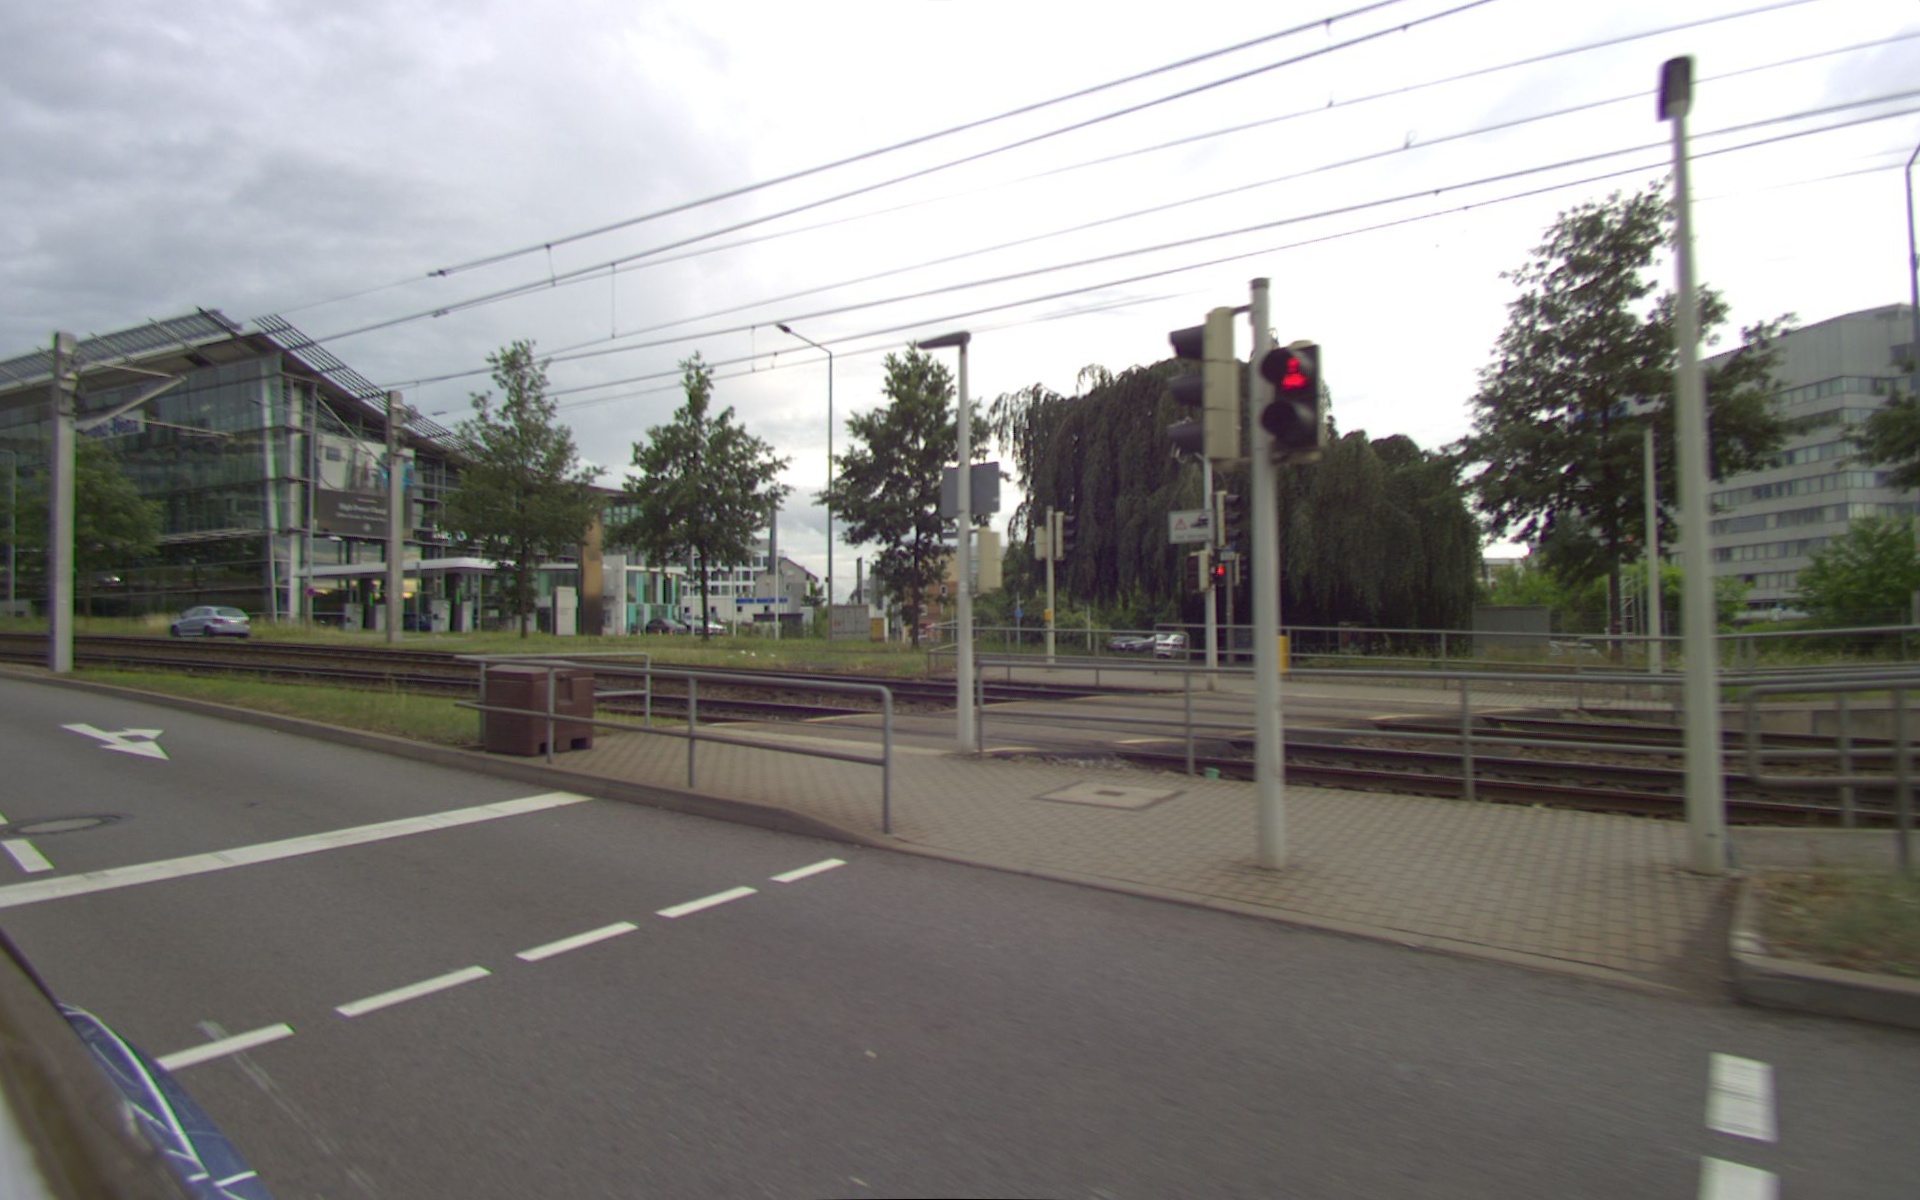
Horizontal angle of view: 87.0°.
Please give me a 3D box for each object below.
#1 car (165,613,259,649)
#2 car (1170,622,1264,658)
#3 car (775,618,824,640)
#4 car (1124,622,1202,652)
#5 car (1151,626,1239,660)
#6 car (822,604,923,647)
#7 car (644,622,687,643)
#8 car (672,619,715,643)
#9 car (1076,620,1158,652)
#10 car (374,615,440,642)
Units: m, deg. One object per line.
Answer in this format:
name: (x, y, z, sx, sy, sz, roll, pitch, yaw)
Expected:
car: (-36.300, 1.481, 49.133, 3.975, 1.692, 1.984, 0, 0, 23)
car: (12.012, 1.839, 47.458, 3.946, 1.505, 1.756, 1, 1, 2)
car: (-13.630, 2.467, 85.904, 3.940, 1.741, 2.002, 1, 1, -4)
car: (11.200, 2.040, 56.078, 3.946, 1.505, 1.756, 1, 1, 2)
car: (11.660, 2.115, 50.365, 3.946, 1.505, 1.756, 1, 1, 2)
car: (-3.815, 1.084, 44.285, 3.982, 1.663, 1.981, 2, 1, 28)
car: (-26.462, 2.908, 90.950, 3.740, 1.723, 1.761, 2, 1, 35)
car: (-24.739, 2.866, 93.793, 3.737, 2.029, 1.885, 2, 1, 35)
car: (8.338, 1.906, 54.022, 3.942, 1.521, 2.001, 1, 1, -2)
car: (-42.119, 2.177, 77.152, 3.940, 1.864, 1.897, 1, 1, -3)
